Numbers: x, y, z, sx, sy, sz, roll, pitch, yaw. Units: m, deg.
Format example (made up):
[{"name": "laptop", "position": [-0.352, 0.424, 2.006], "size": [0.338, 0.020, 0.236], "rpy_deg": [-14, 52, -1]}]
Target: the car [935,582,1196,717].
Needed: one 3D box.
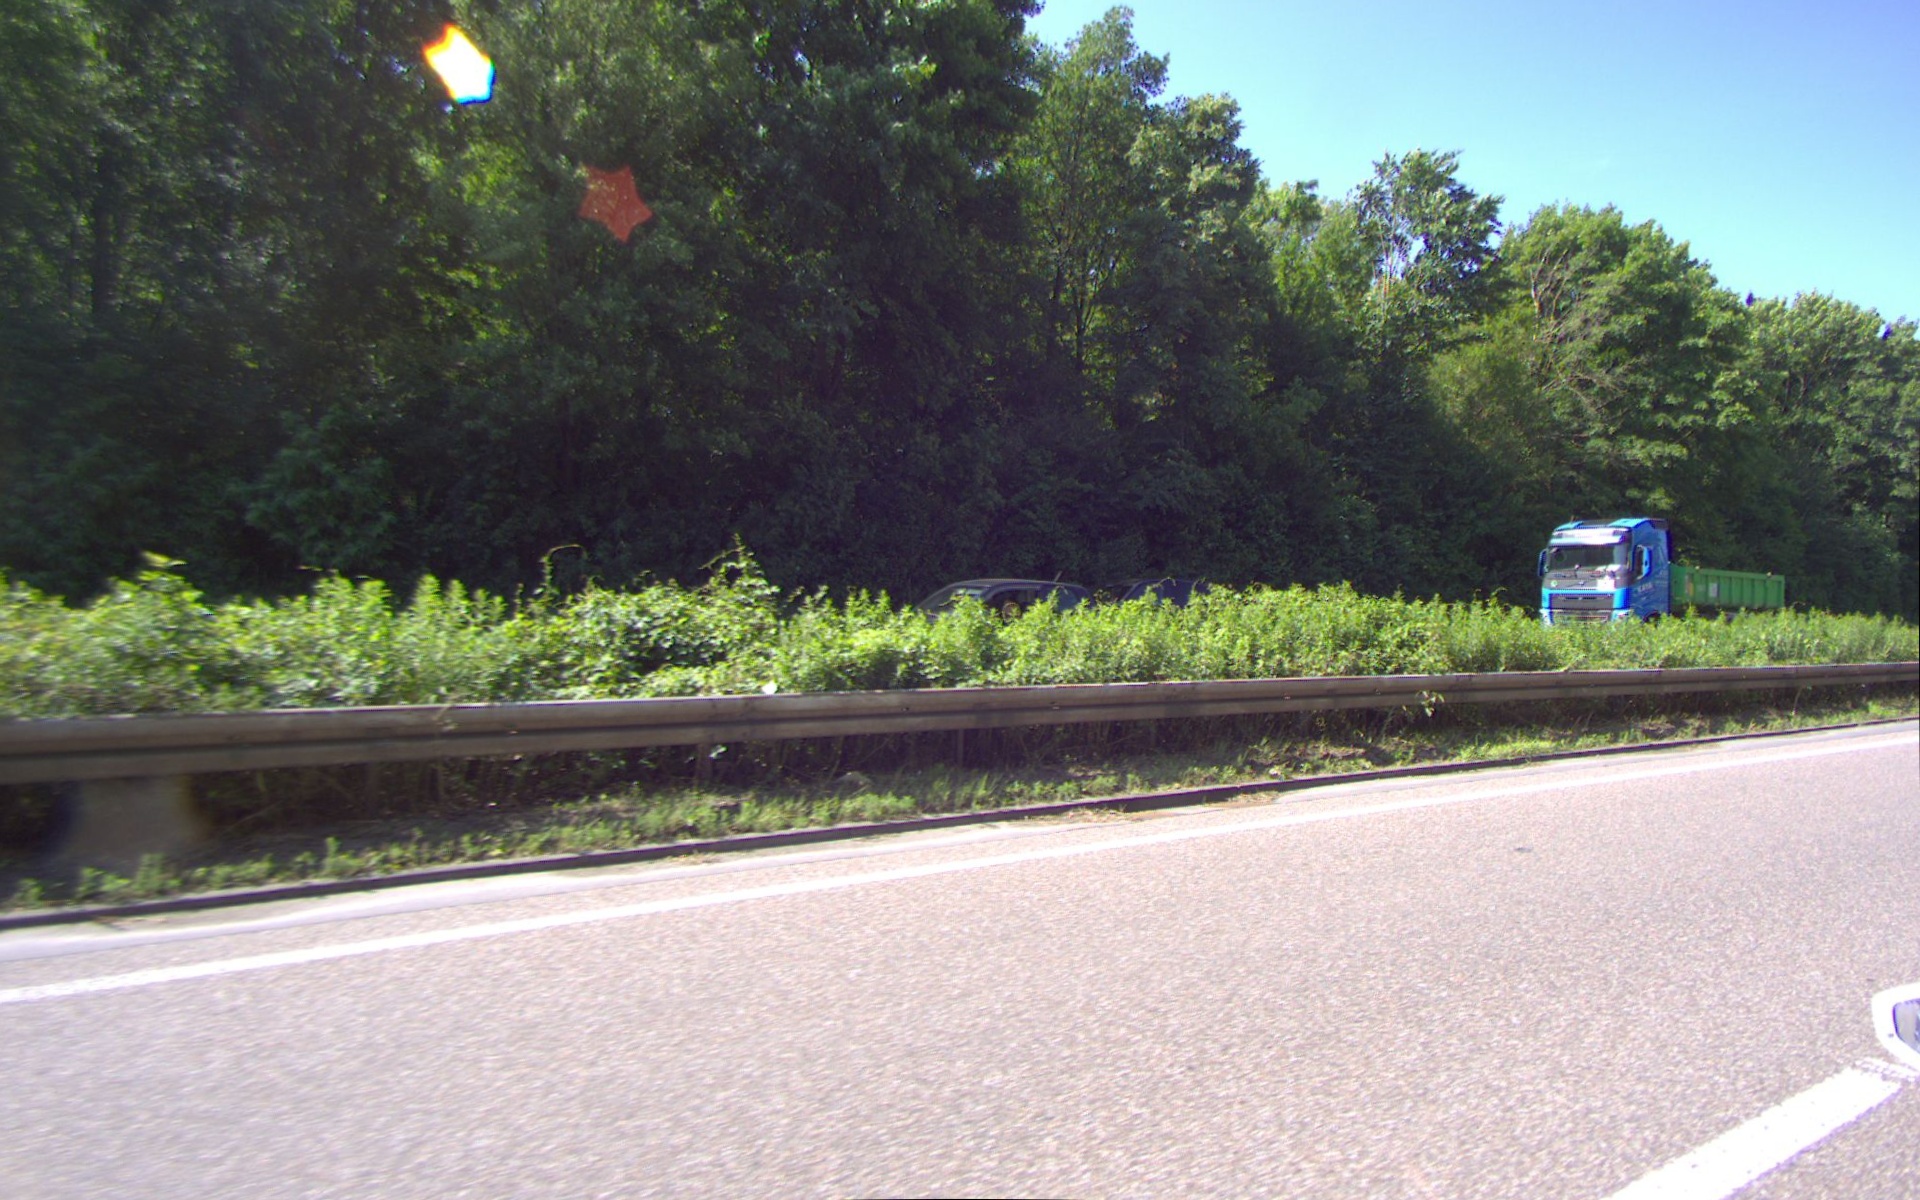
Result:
[{"name": "car", "position": [1.509, 0.643, 14.018], "size": [3.471, 1.684, 1.442], "rpy_deg": [0, -1, -31]}]

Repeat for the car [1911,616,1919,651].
[{"name": "car", "position": [42.786, 1.479, 43.225], "size": [3.579, 1.493, 1.665], "rpy_deg": [1, 0, -29]}]

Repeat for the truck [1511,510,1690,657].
[{"name": "truck", "position": [17.785, -0.394, 27.925], "size": [3.953, 3.755, 2.633], "rpy_deg": [1, 0, -30]}]

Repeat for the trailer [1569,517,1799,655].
[{"name": "trailer", "position": [22.085, -0.310, 30.510], "size": [7.890, 3.761, 2.675], "rpy_deg": [1, 0, -30]}]
